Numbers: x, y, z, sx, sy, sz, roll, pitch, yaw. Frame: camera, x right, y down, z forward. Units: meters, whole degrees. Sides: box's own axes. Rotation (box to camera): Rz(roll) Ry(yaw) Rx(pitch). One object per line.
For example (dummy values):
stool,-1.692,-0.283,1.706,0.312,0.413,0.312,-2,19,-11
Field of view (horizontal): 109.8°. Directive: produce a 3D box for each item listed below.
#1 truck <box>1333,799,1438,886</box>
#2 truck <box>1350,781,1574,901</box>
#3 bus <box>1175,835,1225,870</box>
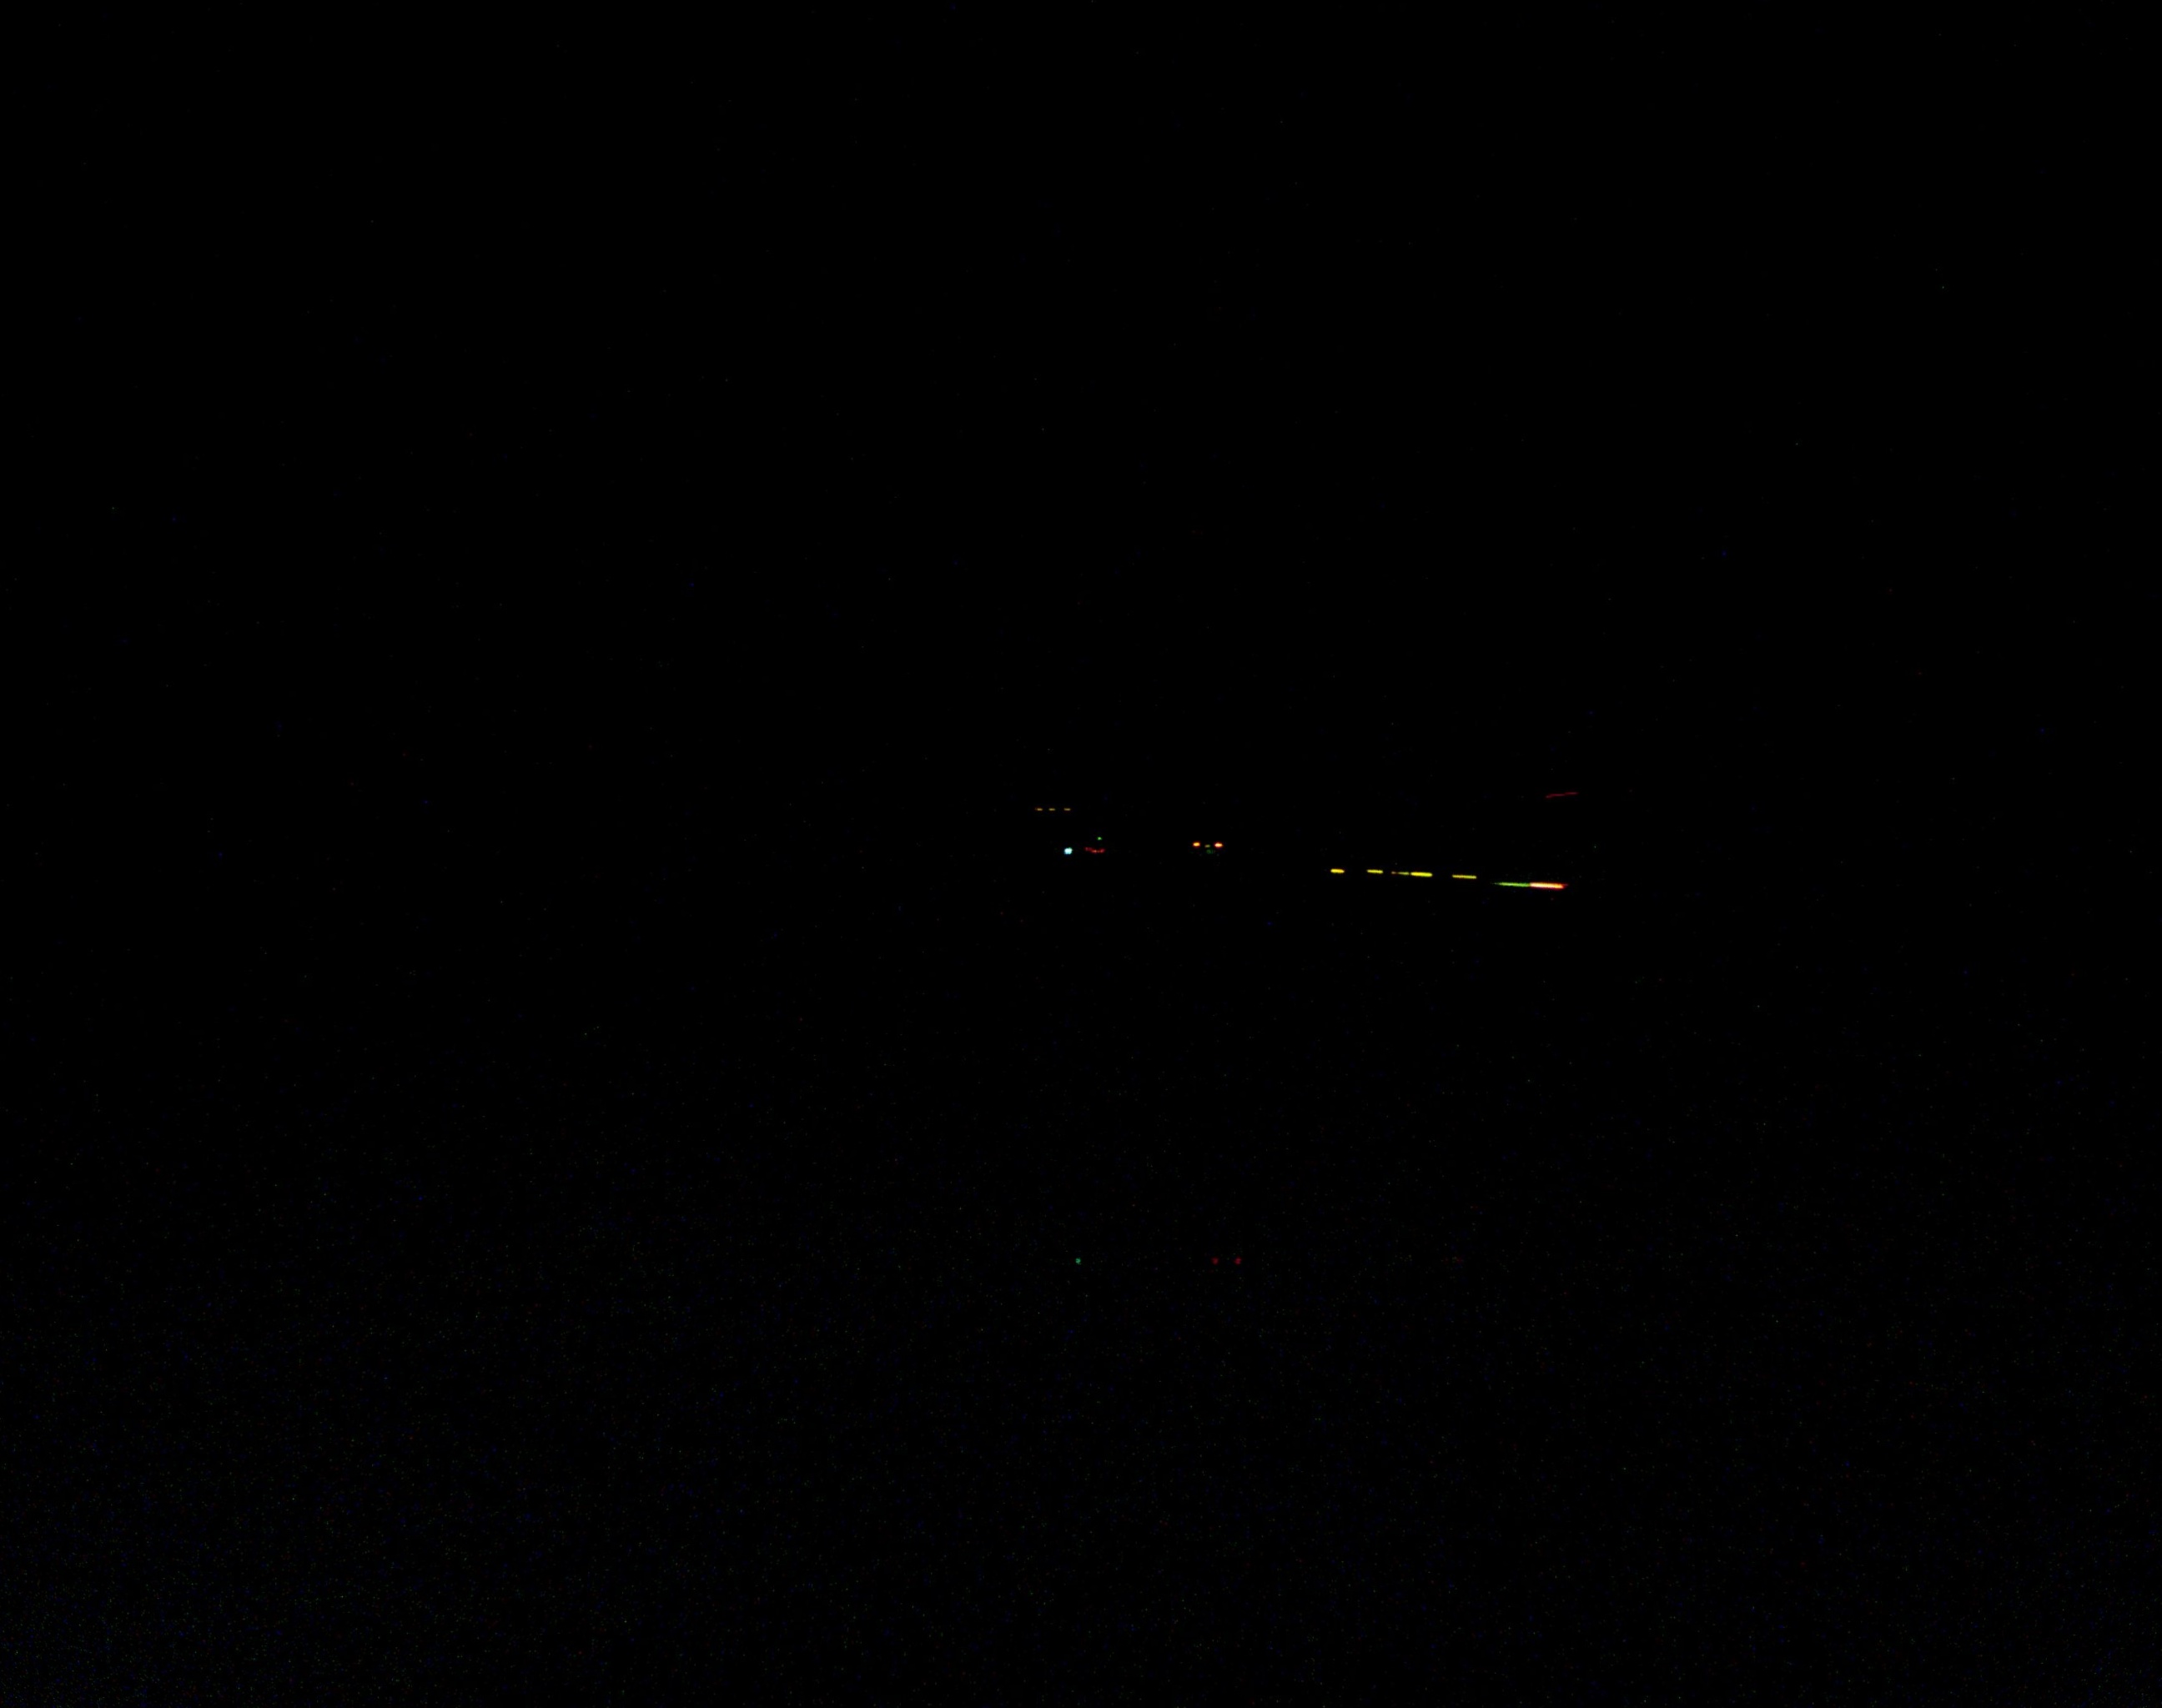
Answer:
truck,15.586,-0.588,39.496,2.780,4.120,6.673,-1,1,0
truck,15.577,-0.493,33.084,2.753,4.103,13.907,-1,1,0
bus,11.654,-0.193,75.855,2.793,3.092,12.514,-1,1,-1
